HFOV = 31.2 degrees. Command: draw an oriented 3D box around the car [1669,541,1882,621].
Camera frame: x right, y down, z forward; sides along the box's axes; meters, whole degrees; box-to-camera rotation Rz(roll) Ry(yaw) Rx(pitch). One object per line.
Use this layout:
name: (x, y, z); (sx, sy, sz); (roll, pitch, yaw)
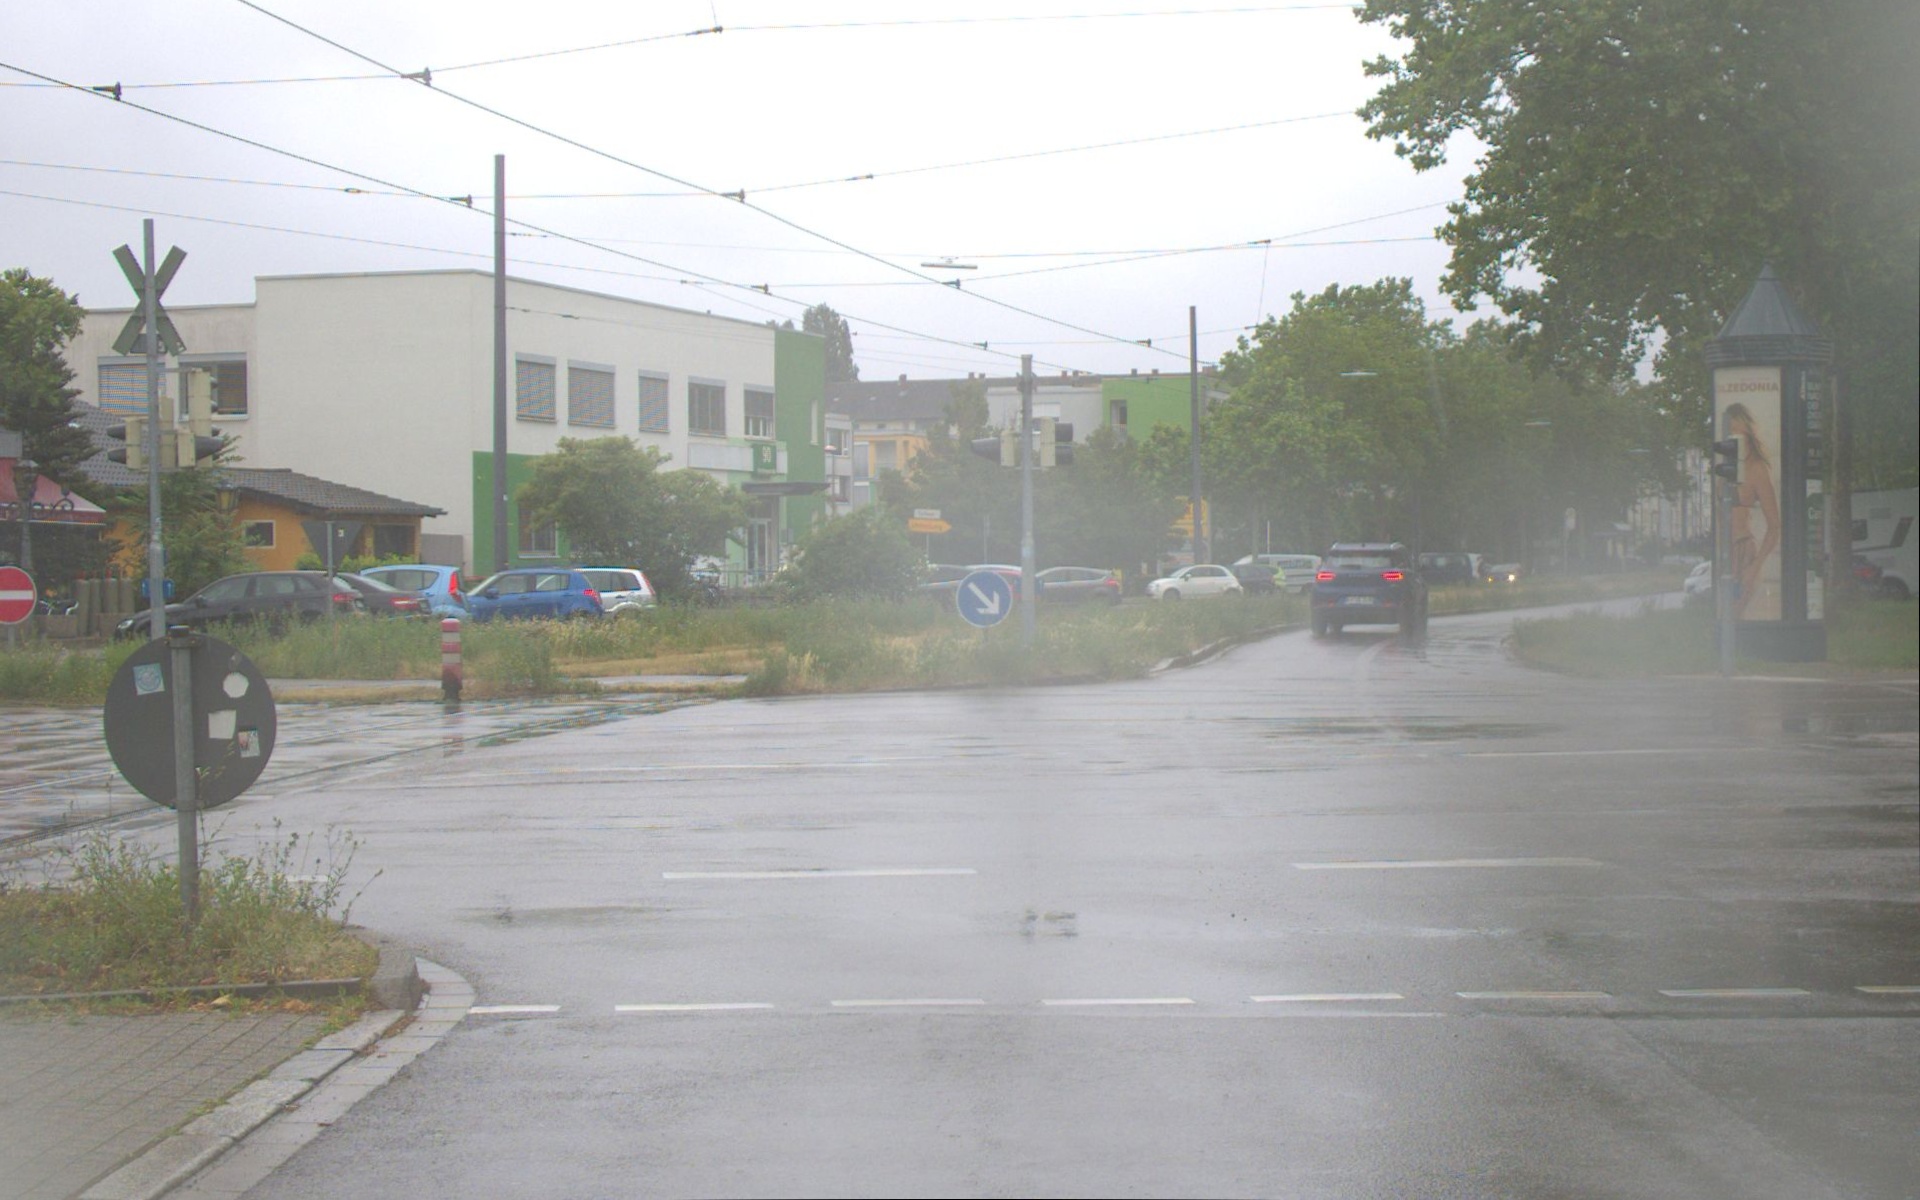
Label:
car: (18.420, -0.439, 77.625); (4.449, 1.711, 1.998); (1, 1, 21)

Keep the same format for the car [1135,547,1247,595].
car: (8.519, -1.074, 126.778); (3.773, 1.697, 1.837); (1, 0, -10)

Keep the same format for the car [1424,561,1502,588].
car: (26.526, -1.328, 181.350); (3.887, 1.349, 1.762); (1, 0, 3)

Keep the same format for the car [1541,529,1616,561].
car: (36.580, -3.223, 203.423); (3.986, 1.826, 2.000); (1, 0, -5)

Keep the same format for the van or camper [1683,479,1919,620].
van or camper: (20.851, -1.174, 80.542); (7.328, 3.167, 3.259); (1, 1, 18)

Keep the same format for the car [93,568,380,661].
car: (-12.382, 0.237, 59.001); (4.477, 1.413, 1.858); (-2, 0, 1)

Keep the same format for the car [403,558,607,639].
car: (-9.259, -0.039, 69.791); (3.986, 1.576, 1.930); (0, 0, -11)

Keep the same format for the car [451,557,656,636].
car: (-8.639, -0.085, 72.924); (4.107, 1.635, 1.930); (-1, 0, -14)

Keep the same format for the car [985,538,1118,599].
car: (2.923, -1.006, 110.006); (3.986, 1.881, 2.000); (1, 0, -7)

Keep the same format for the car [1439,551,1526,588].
car: (26.407, -1.533, 173.932); (3.986, 1.826, 2.000); (1, 0, -5)

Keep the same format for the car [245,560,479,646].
car: (-11.246, 0.045, 64.796); (3.987, 1.576, 1.858); (0, 0, 4)

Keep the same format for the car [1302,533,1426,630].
car: (7.367, -0.335, 62.454); (1.807, 1.680, 3.909); (1, 1, 13)

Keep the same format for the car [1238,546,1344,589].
car: (13.948, -1.379, 144.892); (3.986, 1.752, 2.011); (1, 0, -11)

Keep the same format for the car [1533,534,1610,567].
car: (35.331, -2.861, 198.692); (3.986, 1.826, 2.000); (1, 0, -5)

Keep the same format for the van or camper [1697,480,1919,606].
van or camper: (23.273, -1.476, 89.696); (7.434, 3.167, 3.259); (1, 1, 22)

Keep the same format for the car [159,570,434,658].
car: (-11.803, 0.235, 61.355); (4.497, 1.413, 1.858); (-2, 0, 1)
